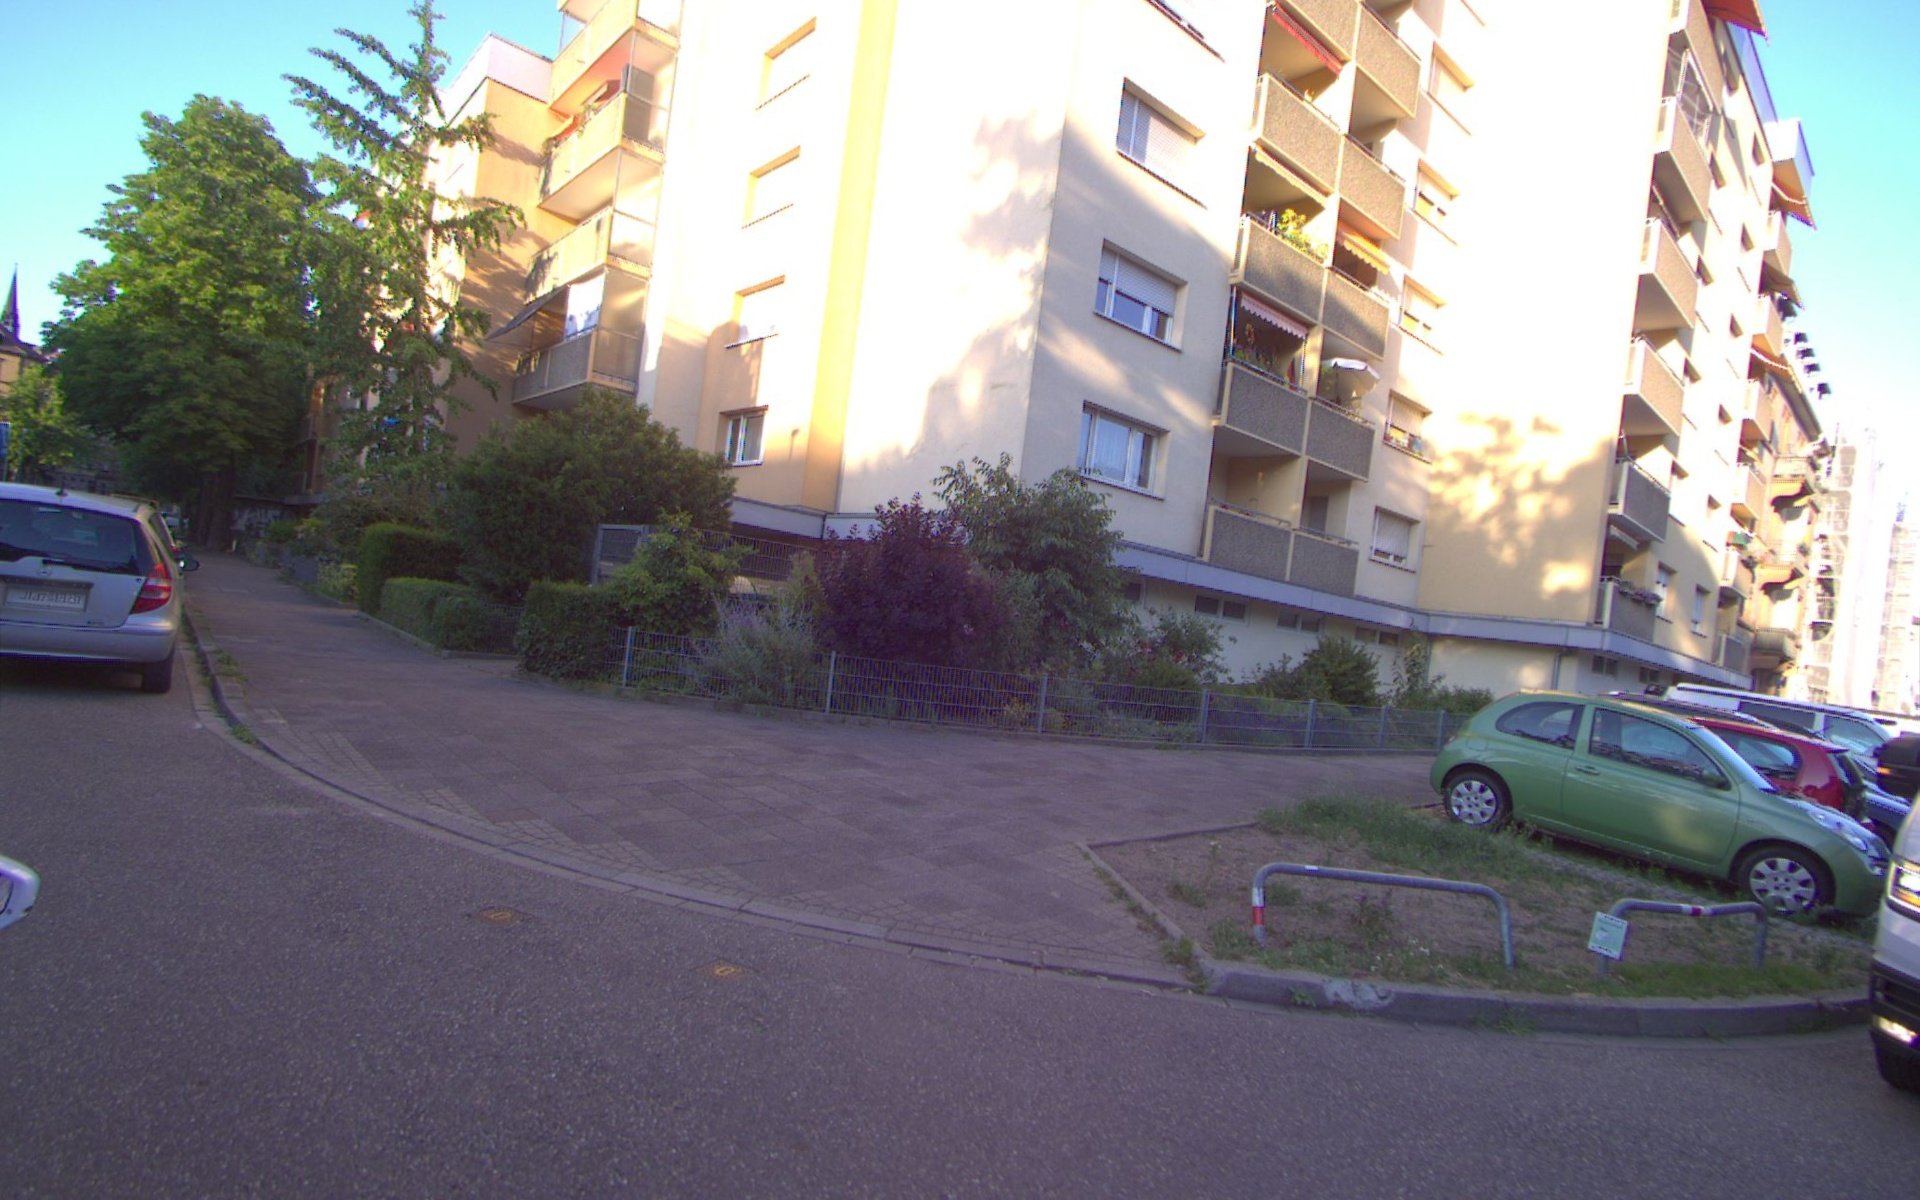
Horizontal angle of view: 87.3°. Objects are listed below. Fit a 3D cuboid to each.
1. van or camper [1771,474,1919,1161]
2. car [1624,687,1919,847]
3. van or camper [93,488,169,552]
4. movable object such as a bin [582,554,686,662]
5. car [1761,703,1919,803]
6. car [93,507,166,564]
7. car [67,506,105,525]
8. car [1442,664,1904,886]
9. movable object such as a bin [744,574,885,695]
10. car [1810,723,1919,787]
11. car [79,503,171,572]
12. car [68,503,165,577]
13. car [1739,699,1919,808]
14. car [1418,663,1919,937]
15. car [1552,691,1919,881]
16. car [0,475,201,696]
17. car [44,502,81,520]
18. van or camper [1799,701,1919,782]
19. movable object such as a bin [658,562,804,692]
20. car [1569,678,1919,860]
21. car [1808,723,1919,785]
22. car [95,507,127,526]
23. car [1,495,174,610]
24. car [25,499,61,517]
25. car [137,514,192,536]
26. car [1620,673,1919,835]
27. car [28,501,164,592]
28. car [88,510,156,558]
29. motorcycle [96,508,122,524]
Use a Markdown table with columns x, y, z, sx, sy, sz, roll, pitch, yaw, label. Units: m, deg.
| x | y | z | sx | sy | sz | roll | pitch | yaw | label |
| --- | --- | --- | --- | --- | --- | --- | --- | --- | --- |
| 6.890 | 1.231 | 5.147 | 6.803 | 2.620 | 2.079 | 8 | -2 | -33 | van or camper |
| 13.854 | 2.718 | 16.950 | 4.057 | 1.835 | 1.819 | 8 | 0 | 43 | car |
| -33.103 | -3.216 | 40.146 | 2.056 | 2.122 | 5.031 | 7 | 0 | -41 | van or camper |
| -4.940 | 0.114 | 15.219 | 0.874 | 1.433 | 1.284 | 7 | 1 | -44 | movable object such as a bin |
| 24.293 | 4.128 | 26.745 | 1.732 | 2.022 | 4.310 | 7 | 0 | -43 | car |
| -26.614 | -2.098 | 32.254 | 1.603 | 1.529 | 3.439 | 7 | 0 | -40 | car |
| -95.400 | -9.209 | 109.756 | 3.919 | 1.448 | 1.659 | 8 | 0 | 27 | car |
| 7.983 | 1.825 | 11.522 | 3.946 | 1.571 | 1.819 | 8 | 0 | 43 | car |
| -2.106 | 0.484 | 14.496 | 1.179 | 1.489 | 1.562 | 7 | 1 | -44 | movable object such as a bin |
| 32.612 | 5.503 | 35.025 | 1.732 | 1.680 | 4.310 | 7 | 0 | -43 | car |
| -23.722 | -1.812 | 28.627 | 1.784 | 1.582 | 4.147 | 7 | 0 | -40 | car |
| -20.698 | -1.518 | 24.753 | 1.603 | 1.479 | 4.009 | 7 | 0 | -40 | car |
| 22.523 | 3.874 | 25.263 | 1.732 | 2.022 | 4.310 | 7 | 0 | -43 | car |
| 6.554 | 1.702 | 9.525 | 1.618 | 1.531 | 3.524 | 8 | 1 | -44 | car |
| 10.224 | 2.296 | 13.061 | 3.946 | 1.571 | 1.819 | 8 | 0 | 43 | car |
| -8.190 | -0.242 | 9.120 | 1.802 | 1.595 | 3.841 | 7 | 0 | -40 | car |
| -99.745 | -9.868 | 111.780 | 4.094 | 1.448 | 1.659 | 8 | 0 | 28 | car |
| 36.651 | 5.661 | 38.908 | 2.183 | 2.521 | 6.028 | 7 | 0 | -43 | van or camper |
| -3.089 | 0.351 | 13.511 | 1.120 | 1.489 | 1.562 | 7 | 1 | -44 | movable object such as a bin |
| 11.894 | 2.437 | 15.344 | 3.999 | 1.835 | 1.819 | 8 | 0 | 43 | car |
| 33.891 | 5.690 | 36.625 | 1.732 | 1.680 | 4.310 | 7 | 0 | -43 | car |
| -99.116 | -9.762 | 117.490 | 2.961 | 1.804 | 1.679 | 8 | 0 | 26 | car |
| -13.886 | -0.800 | 16.177 | 1.802 | 1.434 | 3.853 | 7 | 0 | -39 | car |
| -103.865 | -10.388 | 113.900 | 3.827 | 1.448 | 1.659 | 8 | 0 | 26 | car |
| -78.054 | -7.335 | 98.772 | 1.846 | 1.484 | 3.974 | 8 | -1 | 4 | car |
| 15.689 | 2.831 | 18.884 | 1.987 | 2.111 | 5.017 | 7 | 0 | -42 | car |
| -17.353 | -1.132 | 20.327 | 1.802 | 1.434 | 4.574 | 7 | 0 | -40 | car |
| -29.923 | -2.385 | 36.009 | 1.599 | 1.399 | 3.957 | 7 | 0 | -38 | car |
| -91.806 | -9.075 | 108.523 | 0.569 | 1.357 | 1.930 | 8 | 0 | 40 | motorcycle |
